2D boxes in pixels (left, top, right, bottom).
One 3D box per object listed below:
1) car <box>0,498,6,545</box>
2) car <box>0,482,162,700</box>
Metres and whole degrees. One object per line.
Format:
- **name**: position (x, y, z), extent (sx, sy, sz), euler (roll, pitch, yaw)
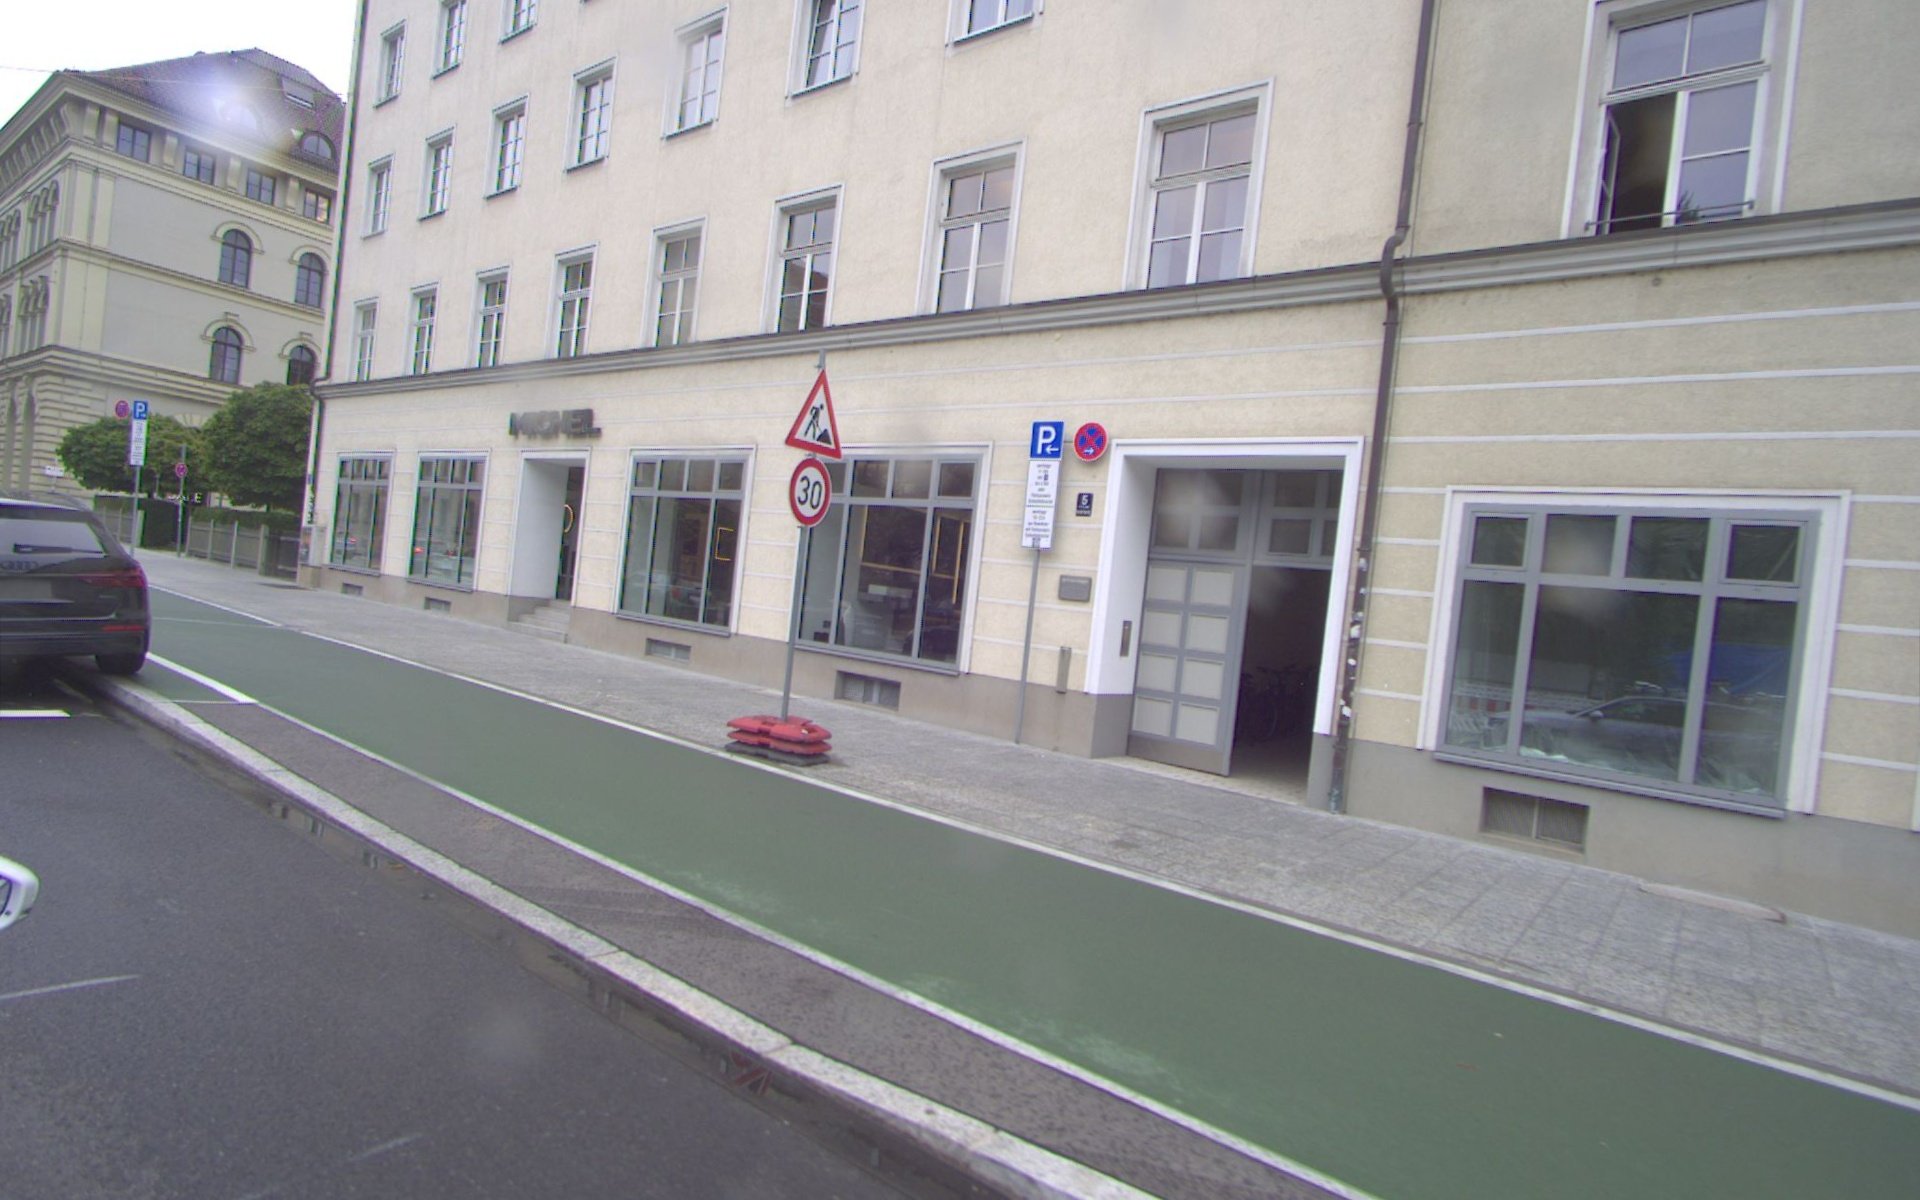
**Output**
- **car**: position (-13.543, -0.771, 12.485), extent (4.651, 1.424, 1.825), euler (7, -1, 39)
- **car**: position (-8.486, -0.245, 8.396), extent (4.393, 1.501, 1.805), euler (7, 4, 37)
